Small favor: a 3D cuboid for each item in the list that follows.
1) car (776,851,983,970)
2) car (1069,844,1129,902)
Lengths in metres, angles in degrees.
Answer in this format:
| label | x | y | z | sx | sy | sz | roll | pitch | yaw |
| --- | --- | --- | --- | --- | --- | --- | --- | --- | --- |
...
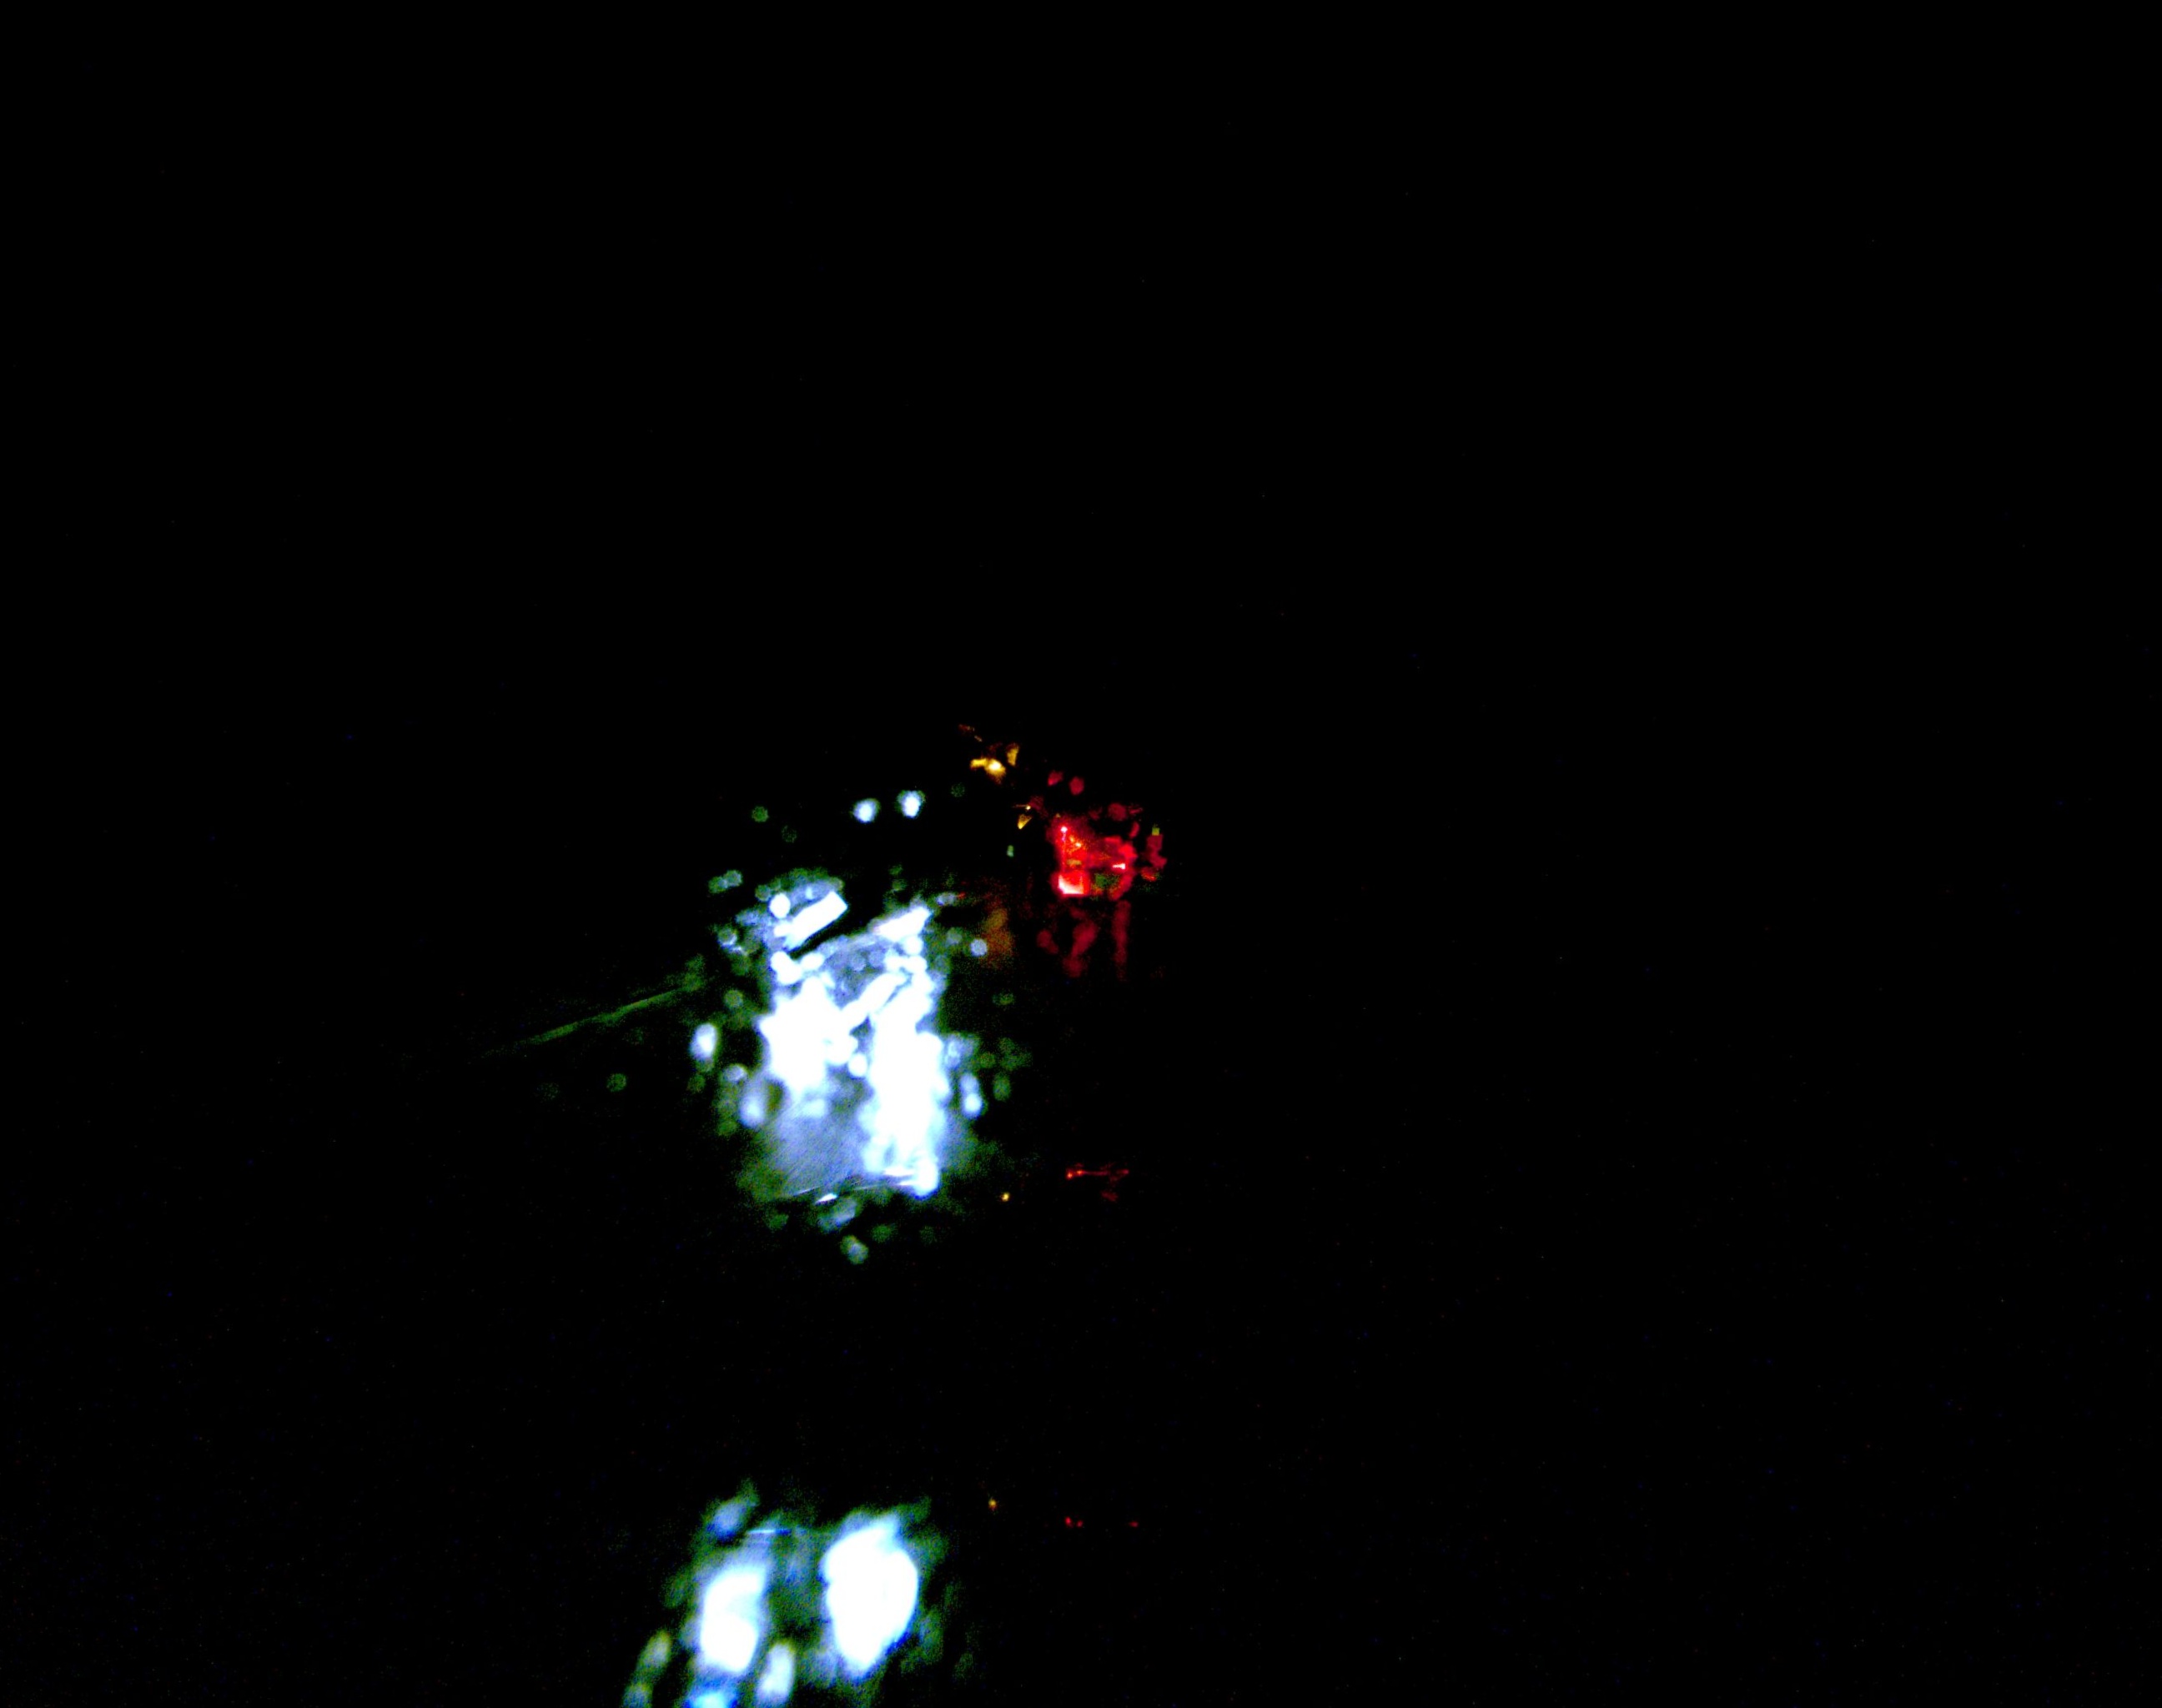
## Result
| label | x | y | z | sx | sy | sz | roll | pitch | yaw |
| --- | --- | --- | --- | --- | --- | --- | --- | --- | --- |
| car | -2.778 | 0.727 | 12.300 | 1.907 | 1.475 | 4.205 | 1 | -1 | 2 |
| car | 0.568 | 0.546 | 26.522 | 1.785 | 1.681 | 3.905 | -1 | 1 | 0 |
